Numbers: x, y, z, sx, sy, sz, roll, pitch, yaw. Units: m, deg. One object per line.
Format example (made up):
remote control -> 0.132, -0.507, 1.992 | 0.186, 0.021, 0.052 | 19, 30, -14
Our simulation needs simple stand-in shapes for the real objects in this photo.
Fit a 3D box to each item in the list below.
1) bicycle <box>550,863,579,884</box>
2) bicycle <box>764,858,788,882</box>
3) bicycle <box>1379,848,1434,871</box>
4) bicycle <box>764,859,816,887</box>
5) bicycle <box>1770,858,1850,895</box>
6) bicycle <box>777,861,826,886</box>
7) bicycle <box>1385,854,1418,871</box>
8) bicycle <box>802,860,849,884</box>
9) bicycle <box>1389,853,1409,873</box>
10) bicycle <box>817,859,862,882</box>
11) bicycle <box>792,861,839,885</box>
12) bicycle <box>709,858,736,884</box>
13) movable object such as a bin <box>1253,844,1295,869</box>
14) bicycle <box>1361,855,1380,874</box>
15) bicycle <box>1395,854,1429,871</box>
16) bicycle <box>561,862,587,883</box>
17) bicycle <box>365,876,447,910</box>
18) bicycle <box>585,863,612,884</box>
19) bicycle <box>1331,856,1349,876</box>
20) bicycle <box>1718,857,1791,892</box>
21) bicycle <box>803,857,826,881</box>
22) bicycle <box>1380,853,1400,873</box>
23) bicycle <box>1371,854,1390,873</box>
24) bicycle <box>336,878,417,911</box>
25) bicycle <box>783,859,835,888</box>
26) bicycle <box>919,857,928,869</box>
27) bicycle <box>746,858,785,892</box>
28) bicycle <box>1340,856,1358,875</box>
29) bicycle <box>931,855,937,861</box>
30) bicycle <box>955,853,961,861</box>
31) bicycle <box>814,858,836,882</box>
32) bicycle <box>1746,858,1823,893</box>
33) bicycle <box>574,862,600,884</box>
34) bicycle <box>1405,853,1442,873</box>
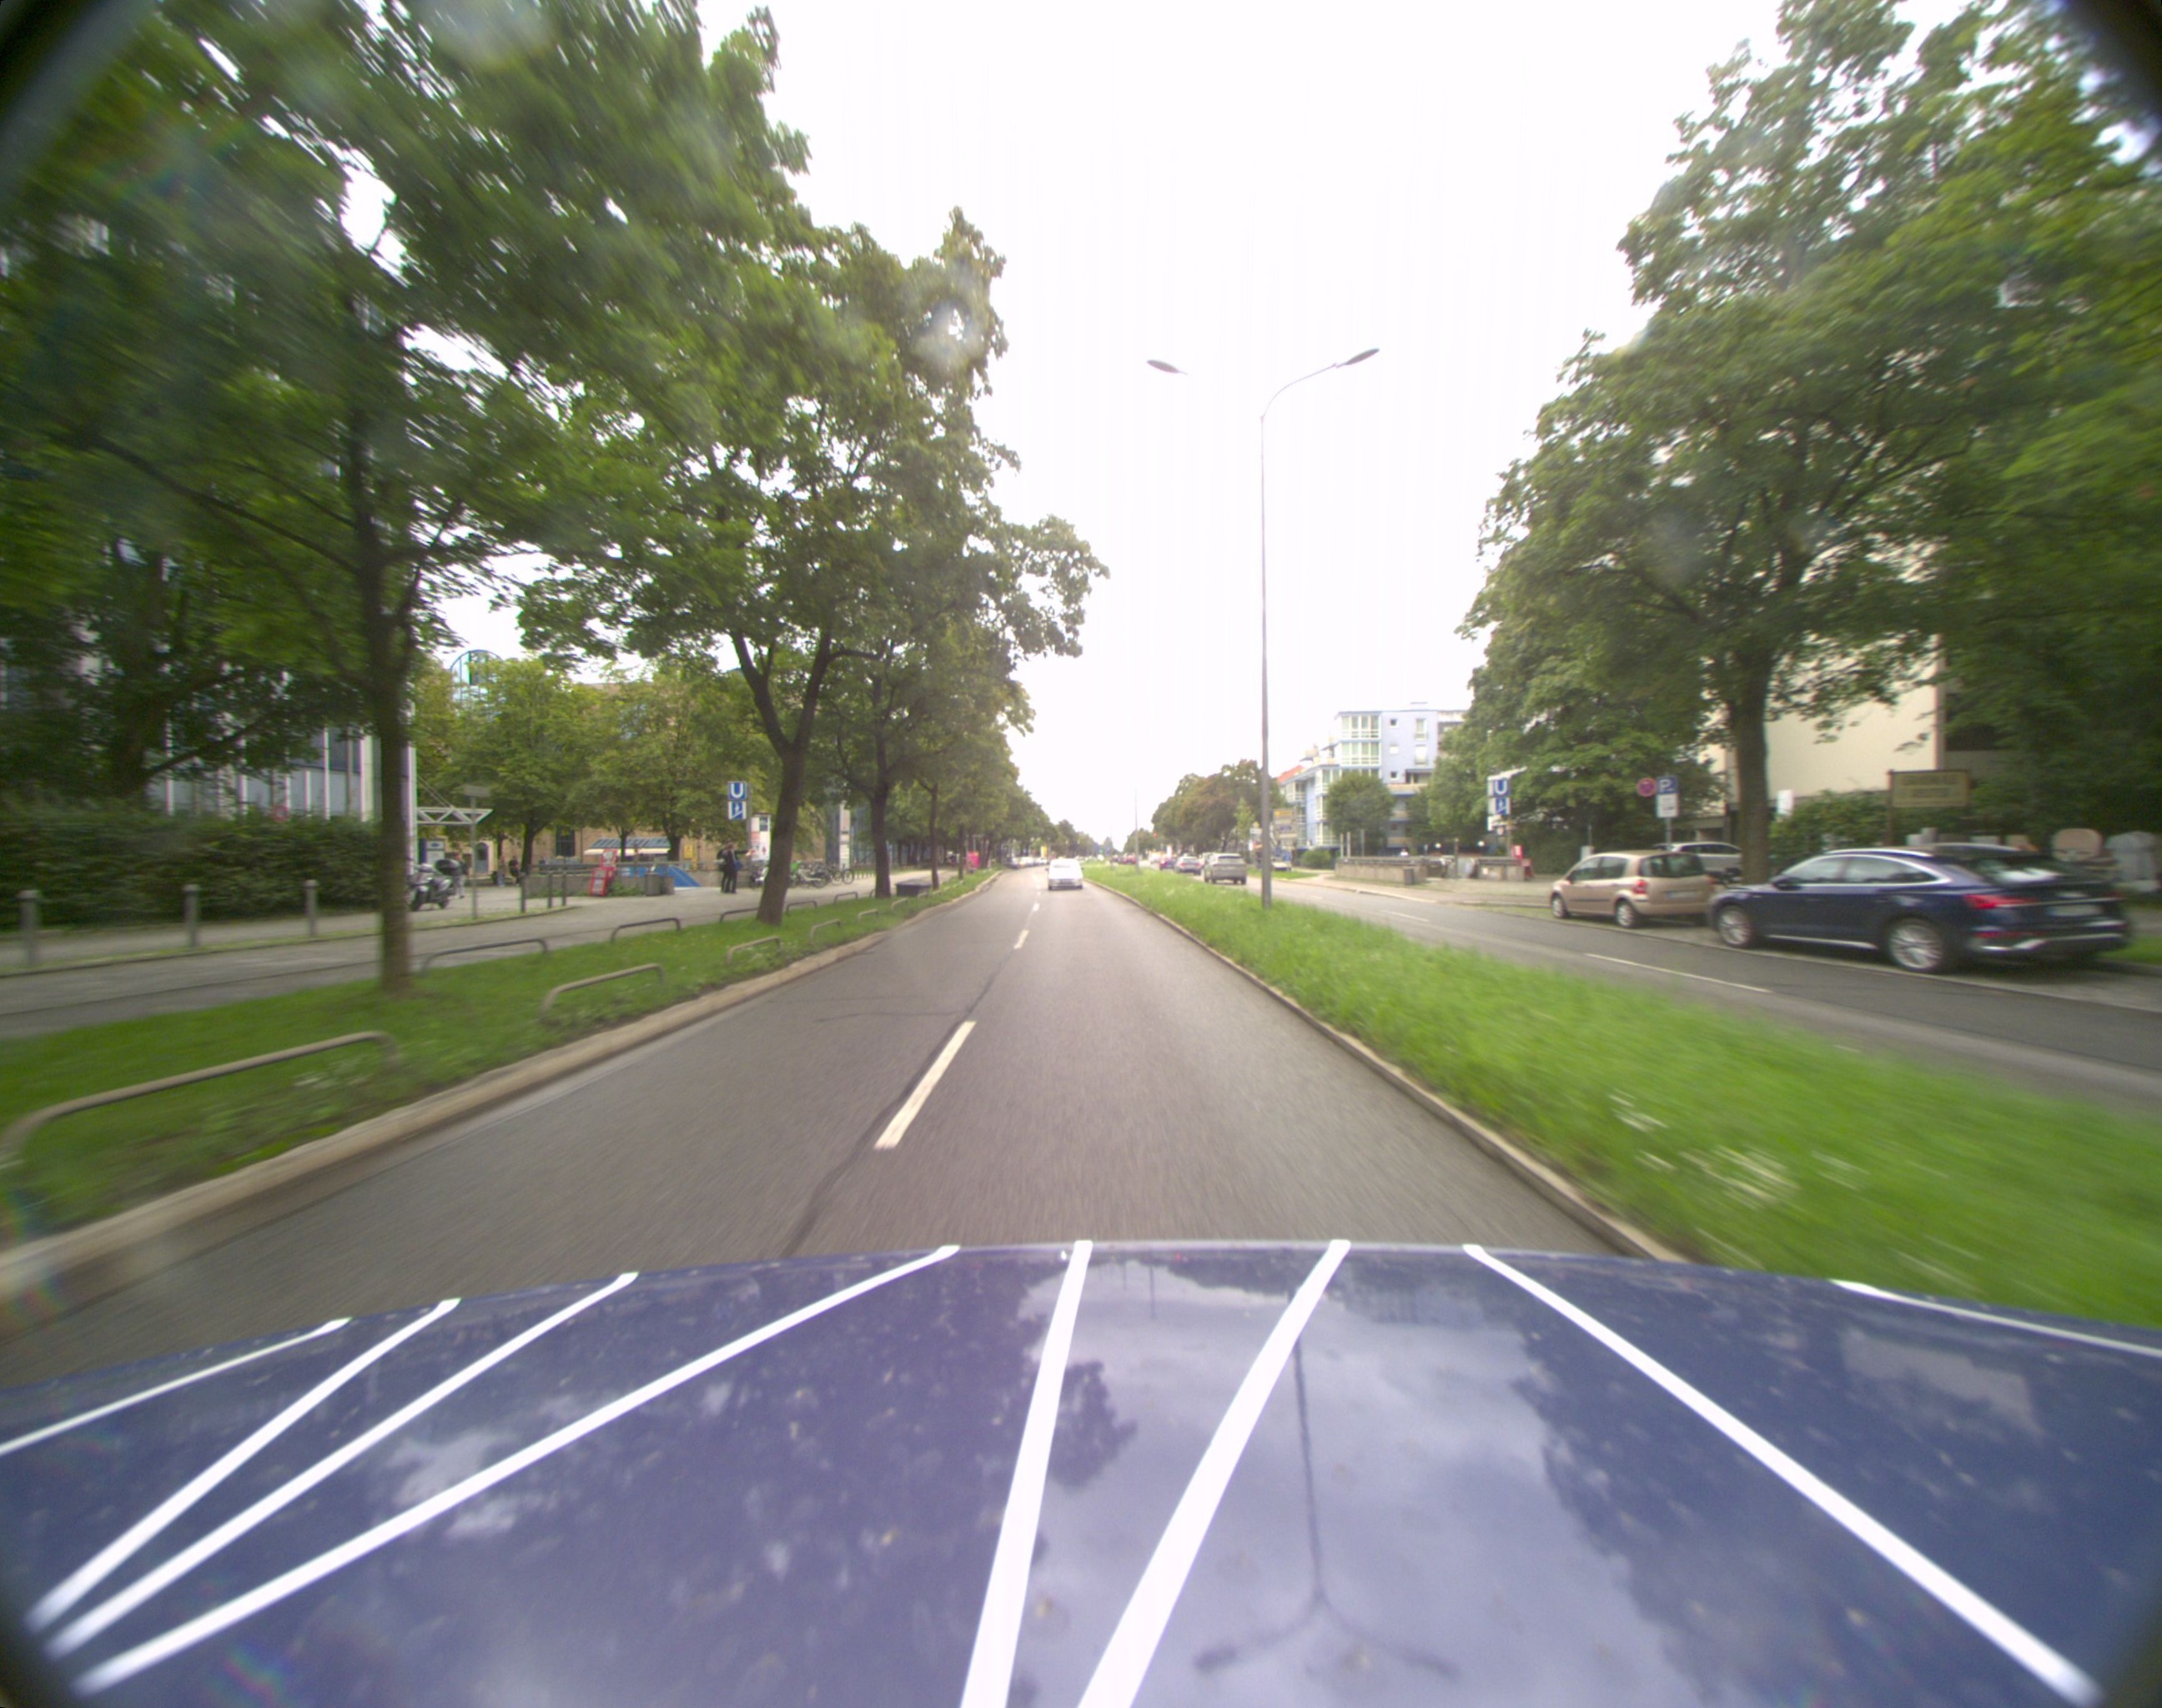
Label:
bicycle -> -31.249, 1.156, 46.022 | 0.554, 1.253, 2.173 | 0, 0, -8
bicycle -> -15.633, 0.794, 39.017 | 0.447, 1.182, 1.954 | 0, 0, -1
bicycle -> 22.265, 0.368, 52.028 | 3.334, 1.275, 0.788 | -5, 0, 6
bicycle -> -12.454, 0.835, 32.591 | 1.959, 1.101, 0.579 | 4, -3, -42
bicycle -> 20.322, 0.614, 21.206 | 1.766, 1.001, 0.436 | 0, 1, 2
bicycle -> -12.399, 0.874, 33.766 | 1.959, 1.077, 0.595 | 3, -2, -42
bicycle -> 21.655, 0.585, 51.347 | 1.952, 1.097, 0.560 | 0, 1, 6
bicycle -> -12.190, 0.865, 36.289 | 2.045, 1.083, 0.603 | 1, 2, -42
bicycle -> 18.535, 0.522, 44.332 | 0.409, 1.090, 1.955 | -5, 0, 5
bicycle -> -12.046, 0.814, 37.937 | 2.036, 1.093, 0.578 | 2, 1, -43
bicycle -> -12.242, 0.902, 35.054 | 1.959, 1.059, 0.578 | 3, 0, -42
bicycle -> -18.278, 0.854, 38.814 | 0.510, 1.287, 2.476 | 0, 0, -8
movable object such as a bin -> 15.379, 0.205, 60.722 | 2.199, 1.941, 3.998 | 0, 0, -3
bicycle -> 16.843, 0.609, 44.264 | 0.409, 1.066, 1.955 | -5, 0, 5
bicycle -> 21.347, 0.568, 49.076 | 1.952, 1.097, 0.489 | 0, 1, 6
bicycle -> -30.631, 1.116, 45.945 | 0.510, 1.253, 1.953 | 0, 0, -8
bicycle -> -18.510, 1.052, 20.891 | 0.684, 0.848, 1.834 | 0, -1, -2
bicycle -> -29.320, 1.161, 46.232 | 0.510, 1.253, 2.173 | 0, 0, -8
bicycle -> 15.091, 0.691, 44.304 | 0.409, 1.083, 2.085 | -5, 0, 5
bicycle -> 20.125, 0.608, 22.712 | 1.766, 1.001, 0.436 | 0, 1, 2
bicycle -> -13.584, 0.733, 38.799 | 0.489, 1.182, 1.954 | 0, 0, -1
bicycle -> 18.012, 0.497, 44.349 | 0.409, 1.097, 1.955 | -5, 0, 5
bicycle -> 17.426, 0.536, 44.251 | 0.409, 1.024, 1.955 | -5, 0, 5
bicycle -> -19.335, 1.089, 20.901 | 0.553, 0.848, 1.834 | 0, -1, -2
bicycle -> -11.497, 0.831, 32.148 | 1.958, 1.182, 0.595 | 3, -1, -32
bicycle -> -16.049, 0.897, 77.459 | 0.622, 1.243, 1.919 | 0, 0, -4
bicycle -> -12.128, 0.805, 29.256 | 0.531, 1.219, 1.863 | 2, -1, 6
bicycle -> 15.620, 0.660, 44.326 | 0.409, 1.071, 1.955 | -5, 0, 5
bicycle -> -23.090, 0.657, 119.207 | 0.571, 0.935, 2.064 | 0, 1, 1
bicycle -> -19.633, 0.440, 121.142 | 0.512, 1.185, 2.141 | 0, 1, 1
bicycle -> -13.062, 0.790, 38.824 | 0.489, 1.182, 1.954 | 0, 0, -1
bicycle -> 20.202, 0.613, 21.840 | 1.766, 1.001, 0.436 | 0, 1, 2
bicycle -> -29.912, 1.154, 46.023 | 0.510, 1.253, 2.020 | 0, 0, -8
bicycle -> 21.125, 0.542, 46.891 | 1.952, 1.097, 0.560 | -5, 0, 6
